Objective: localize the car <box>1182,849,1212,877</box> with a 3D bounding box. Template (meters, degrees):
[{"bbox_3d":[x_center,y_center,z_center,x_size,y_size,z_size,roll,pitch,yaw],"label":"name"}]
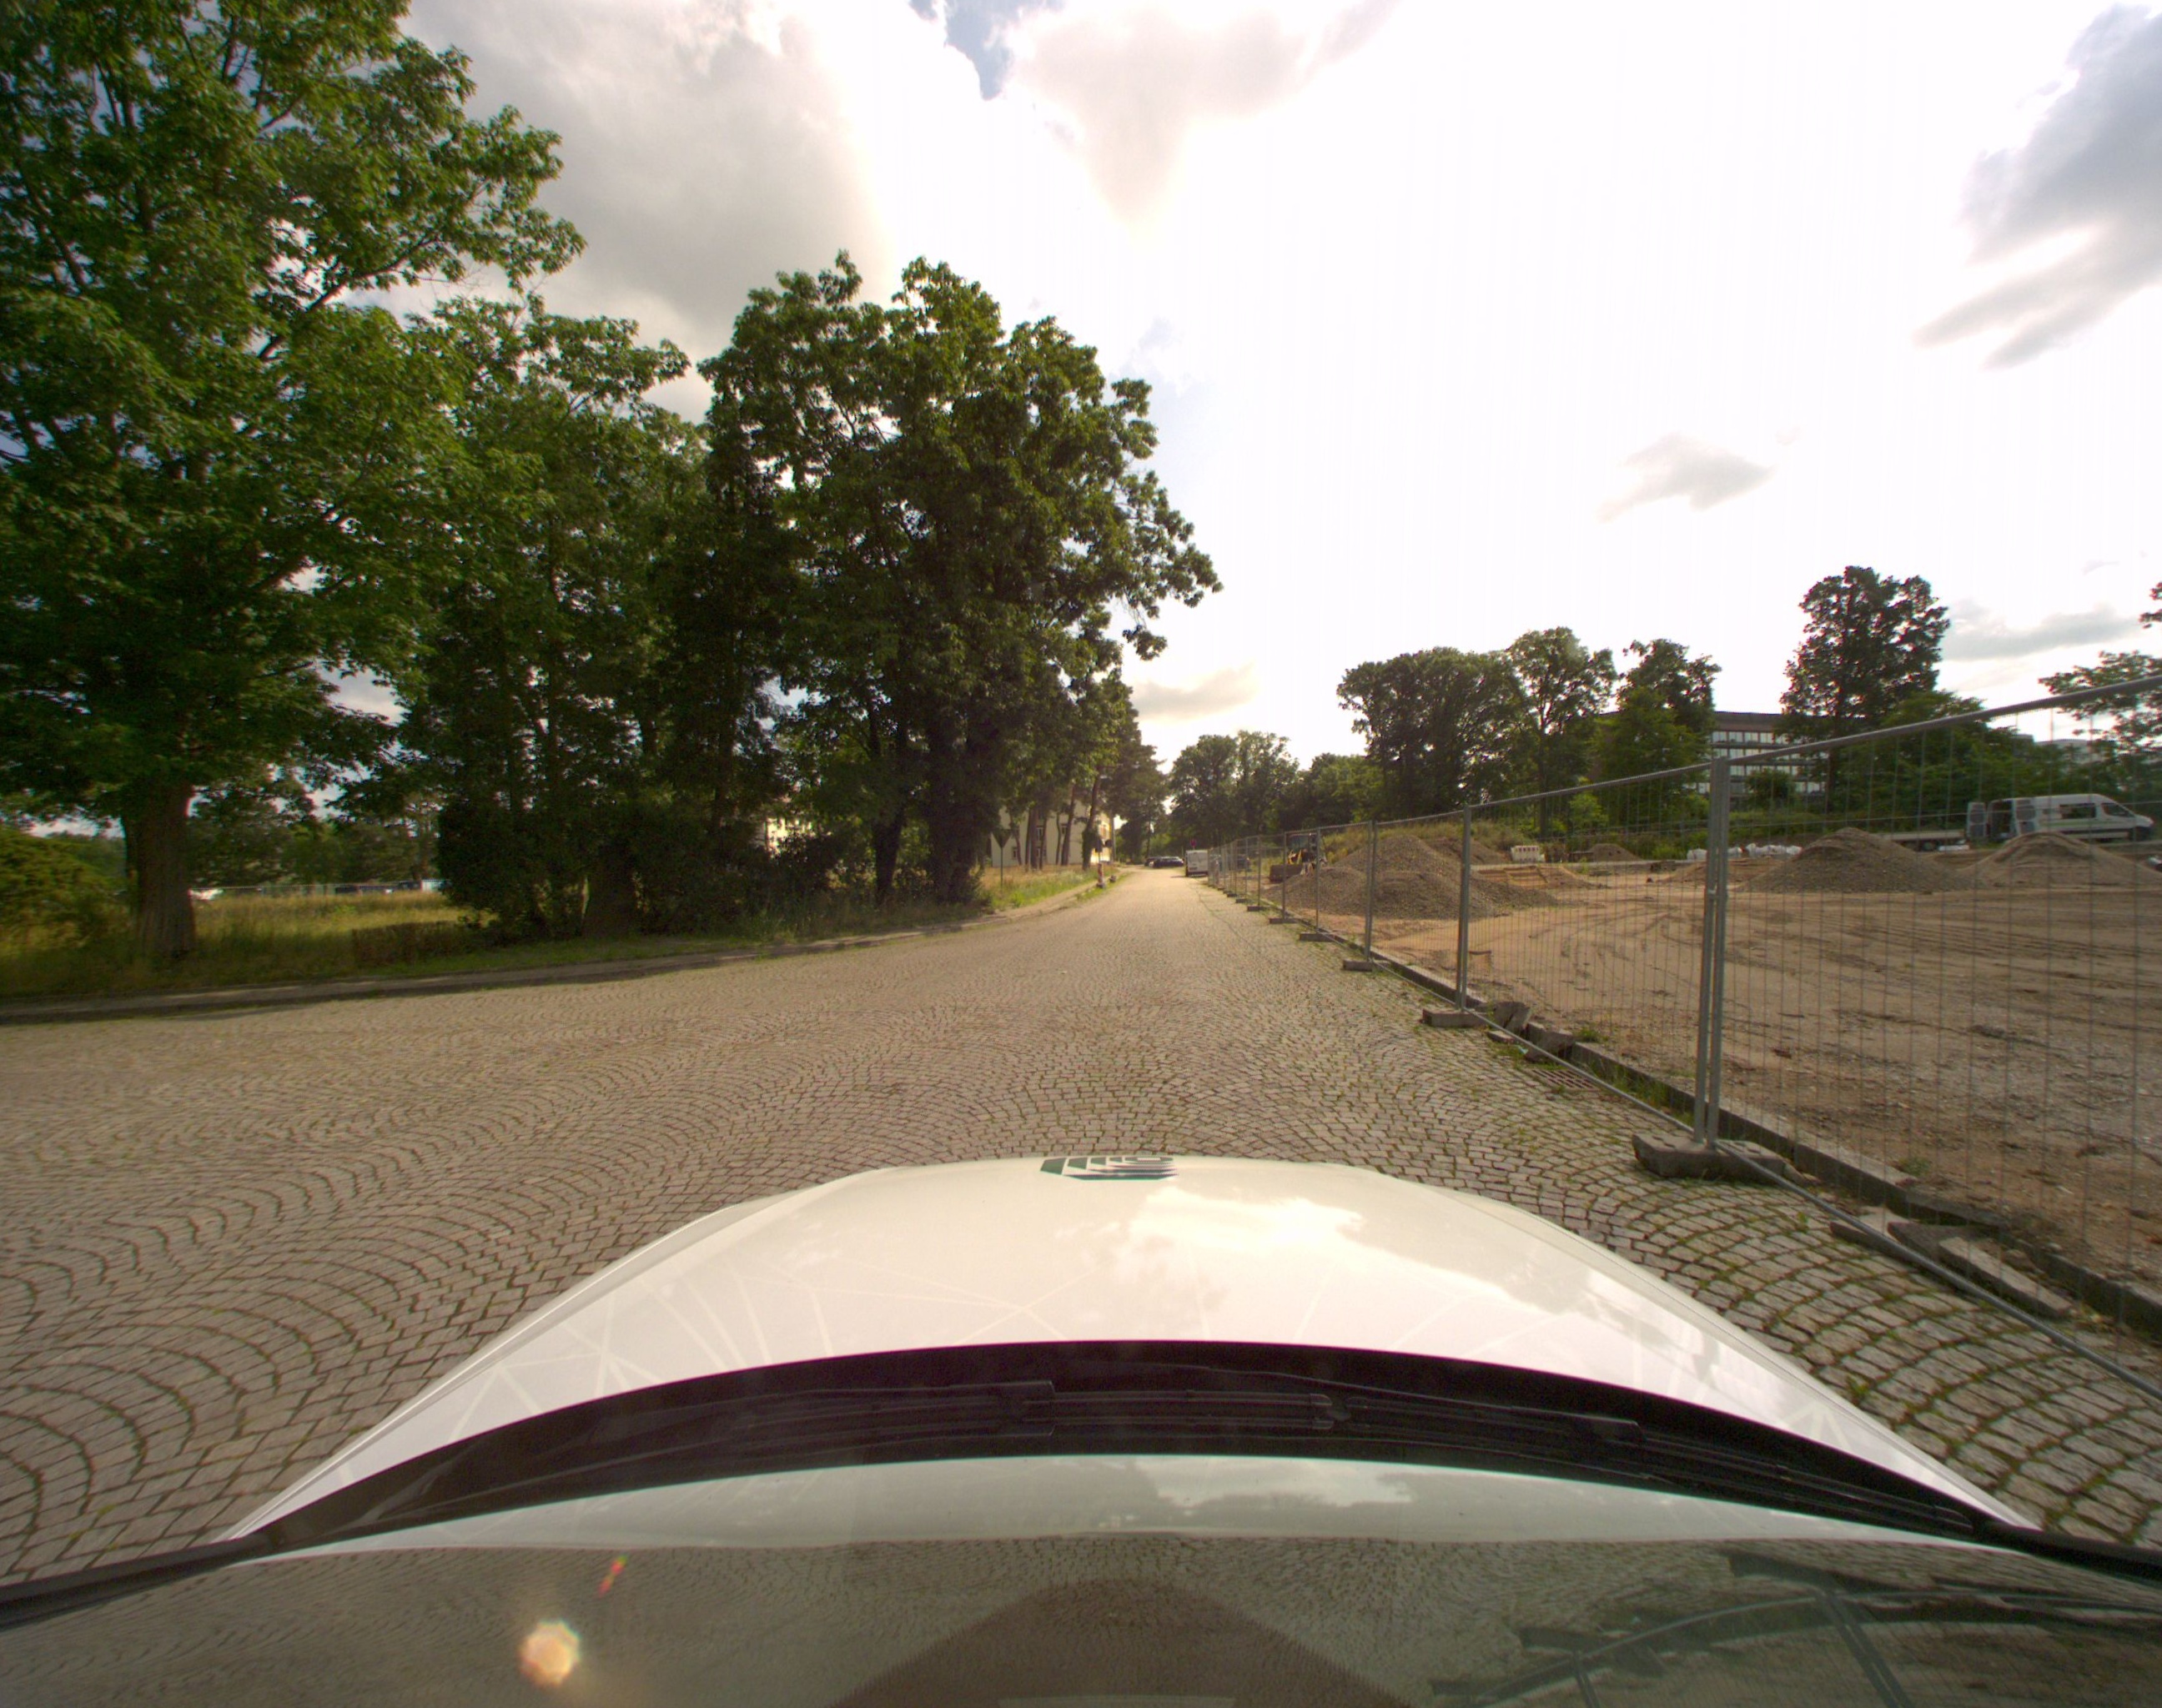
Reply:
[{"bbox_3d":[8.900,0.699,62.763,1.985,2.014,4.095,-2,-1,4],"label":"car"}]

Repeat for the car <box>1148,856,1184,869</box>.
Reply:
[{"bbox_3d":[11.805,1.142,113.827,4.765,1.641,1.999,-2,-1,-1],"label":"car"}]

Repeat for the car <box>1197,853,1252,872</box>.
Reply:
[{"bbox_3d":[12.031,0.689,68.225,4.372,1.510,2.007,-1,-1,13],"label":"car"}]

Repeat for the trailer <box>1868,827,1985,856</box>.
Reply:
[{"bbox_3d":[45.959,-0.658,44.403,3.949,1.354,2.101,-2,-1,30],"label":"trailer"}]

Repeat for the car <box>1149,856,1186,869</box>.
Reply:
[{"bbox_3d":[11.706,1.126,110.631,4.765,1.641,1.999,-2,-1,-1],"label":"car"}]

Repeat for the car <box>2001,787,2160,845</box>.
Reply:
[{"bbox_3d":[51.526,-1.904,42.124,4.764,2.643,2.065,-2,-1,17],"label":"car"}]

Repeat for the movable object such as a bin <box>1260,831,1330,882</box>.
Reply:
[{"bbox_3d":[11.708,0.133,44.336,2.108,2.593,4.822,-2,-1,34],"label":"movable object such as a bin"}]
